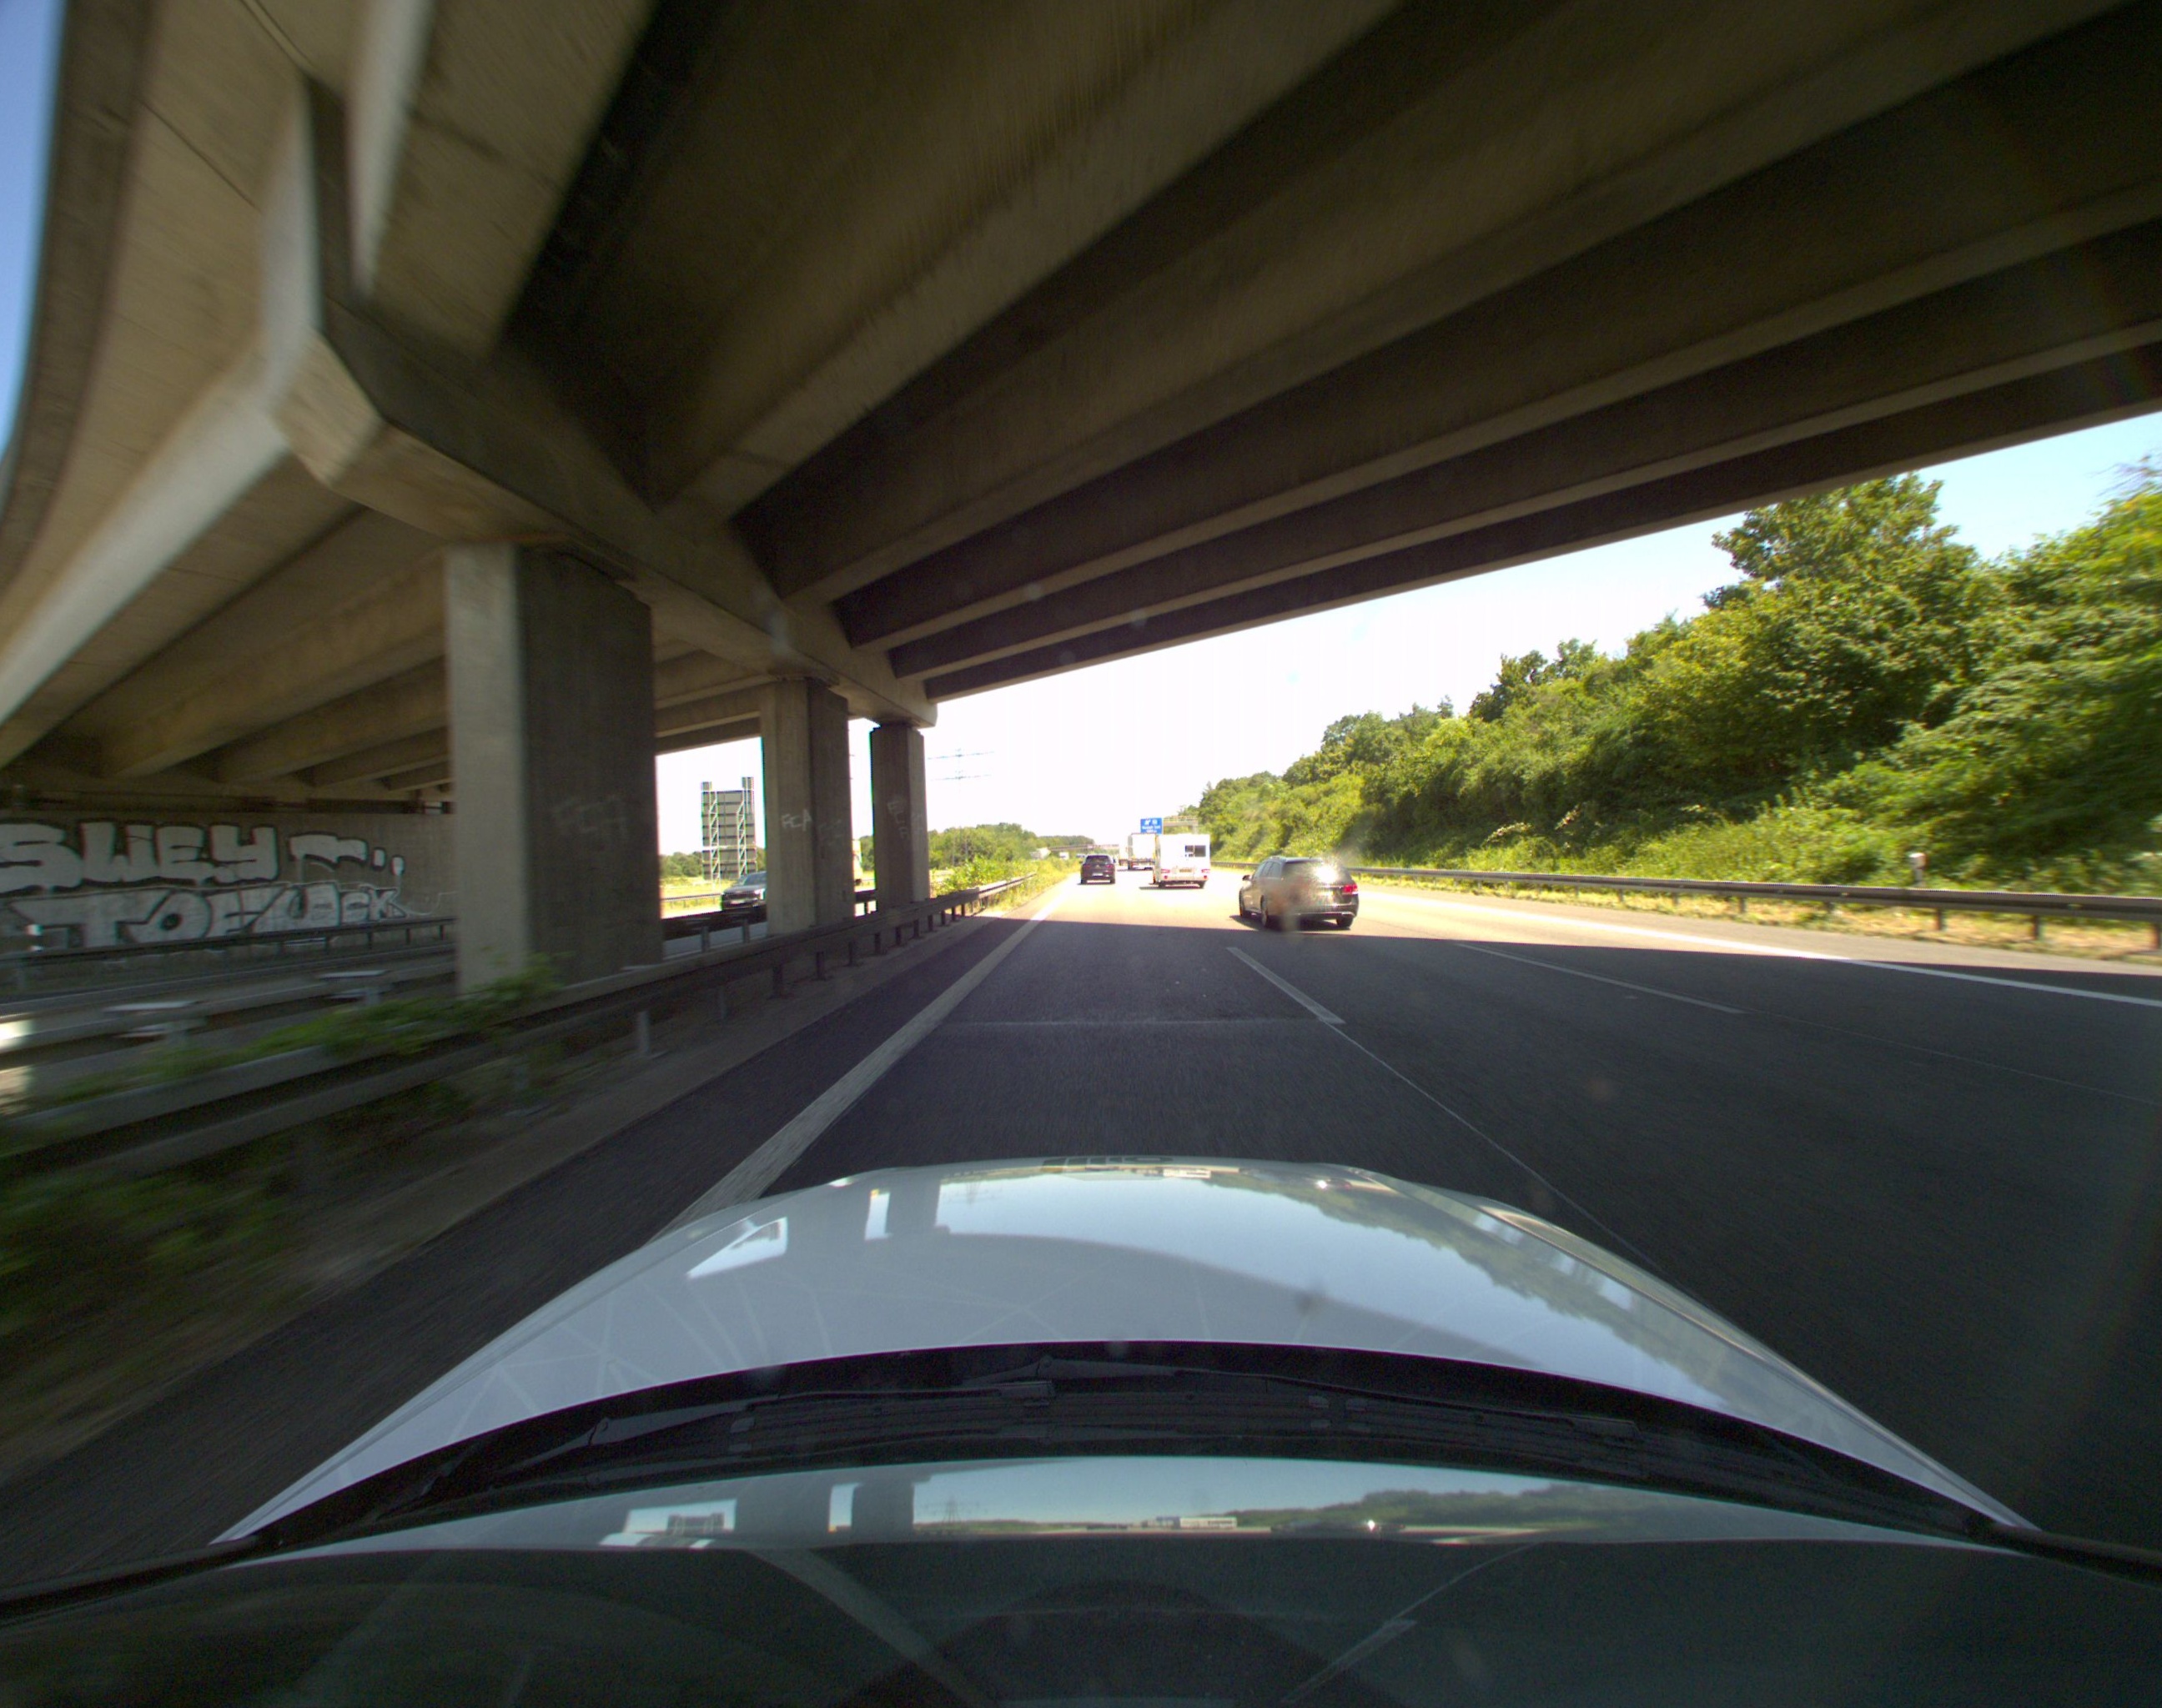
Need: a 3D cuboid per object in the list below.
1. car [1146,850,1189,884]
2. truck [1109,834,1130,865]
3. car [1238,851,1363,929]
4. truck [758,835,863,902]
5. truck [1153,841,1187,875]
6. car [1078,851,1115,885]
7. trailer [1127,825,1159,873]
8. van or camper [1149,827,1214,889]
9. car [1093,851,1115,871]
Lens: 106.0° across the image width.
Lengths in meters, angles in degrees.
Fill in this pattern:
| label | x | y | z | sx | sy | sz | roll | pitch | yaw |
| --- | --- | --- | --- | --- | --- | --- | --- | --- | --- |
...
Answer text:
| label | x | y | z | sx | sy | sz | roll | pitch | yaw |
| --- | --- | --- | --- | --- | --- | --- | --- | --- | --- |
| car | 4.763 | 0.693 | 45.239 | 1.873 | 1.612 | 4.703 | -3 | 1 | 1 |
| truck | 6.656 | -0.729 | 141.690 | 3.498 | 5.166 | 10.263 | -1 | 0 | 2 |
| car | 4.742 | 0.705 | 18.277 | 1.833 | 1.505 | 4.743 | -1 | 0 | 4 |
| truck | -16.980 | 0.877 | 51.941 | 3.498 | 3.863 | 8.666 | -1 | 0 | 2 |
| truck | 11.727 | 0.562 | 108.285 | 3.557 | 4.245 | 11.657 | 0 | -1 | 2 |
| car | 0.880 | 0.757 | 46.715 | 1.986 | 1.772 | 4.001 | -2 | 0 | 1 |
| trailer | 6.732 | -0.475 | 90.483 | 3.075 | 4.885 | 12.263 | 0 | -1 | 2 |
| van or camper | 4.776 | 0.188 | 39.805 | 2.430 | 2.675 | 6.350 | -2 | 0 | 1 |
| car | 2.197 | 0.677 | 78.352 | 1.955 | 1.814 | 4.449 | -2 | 0 | 1 |
